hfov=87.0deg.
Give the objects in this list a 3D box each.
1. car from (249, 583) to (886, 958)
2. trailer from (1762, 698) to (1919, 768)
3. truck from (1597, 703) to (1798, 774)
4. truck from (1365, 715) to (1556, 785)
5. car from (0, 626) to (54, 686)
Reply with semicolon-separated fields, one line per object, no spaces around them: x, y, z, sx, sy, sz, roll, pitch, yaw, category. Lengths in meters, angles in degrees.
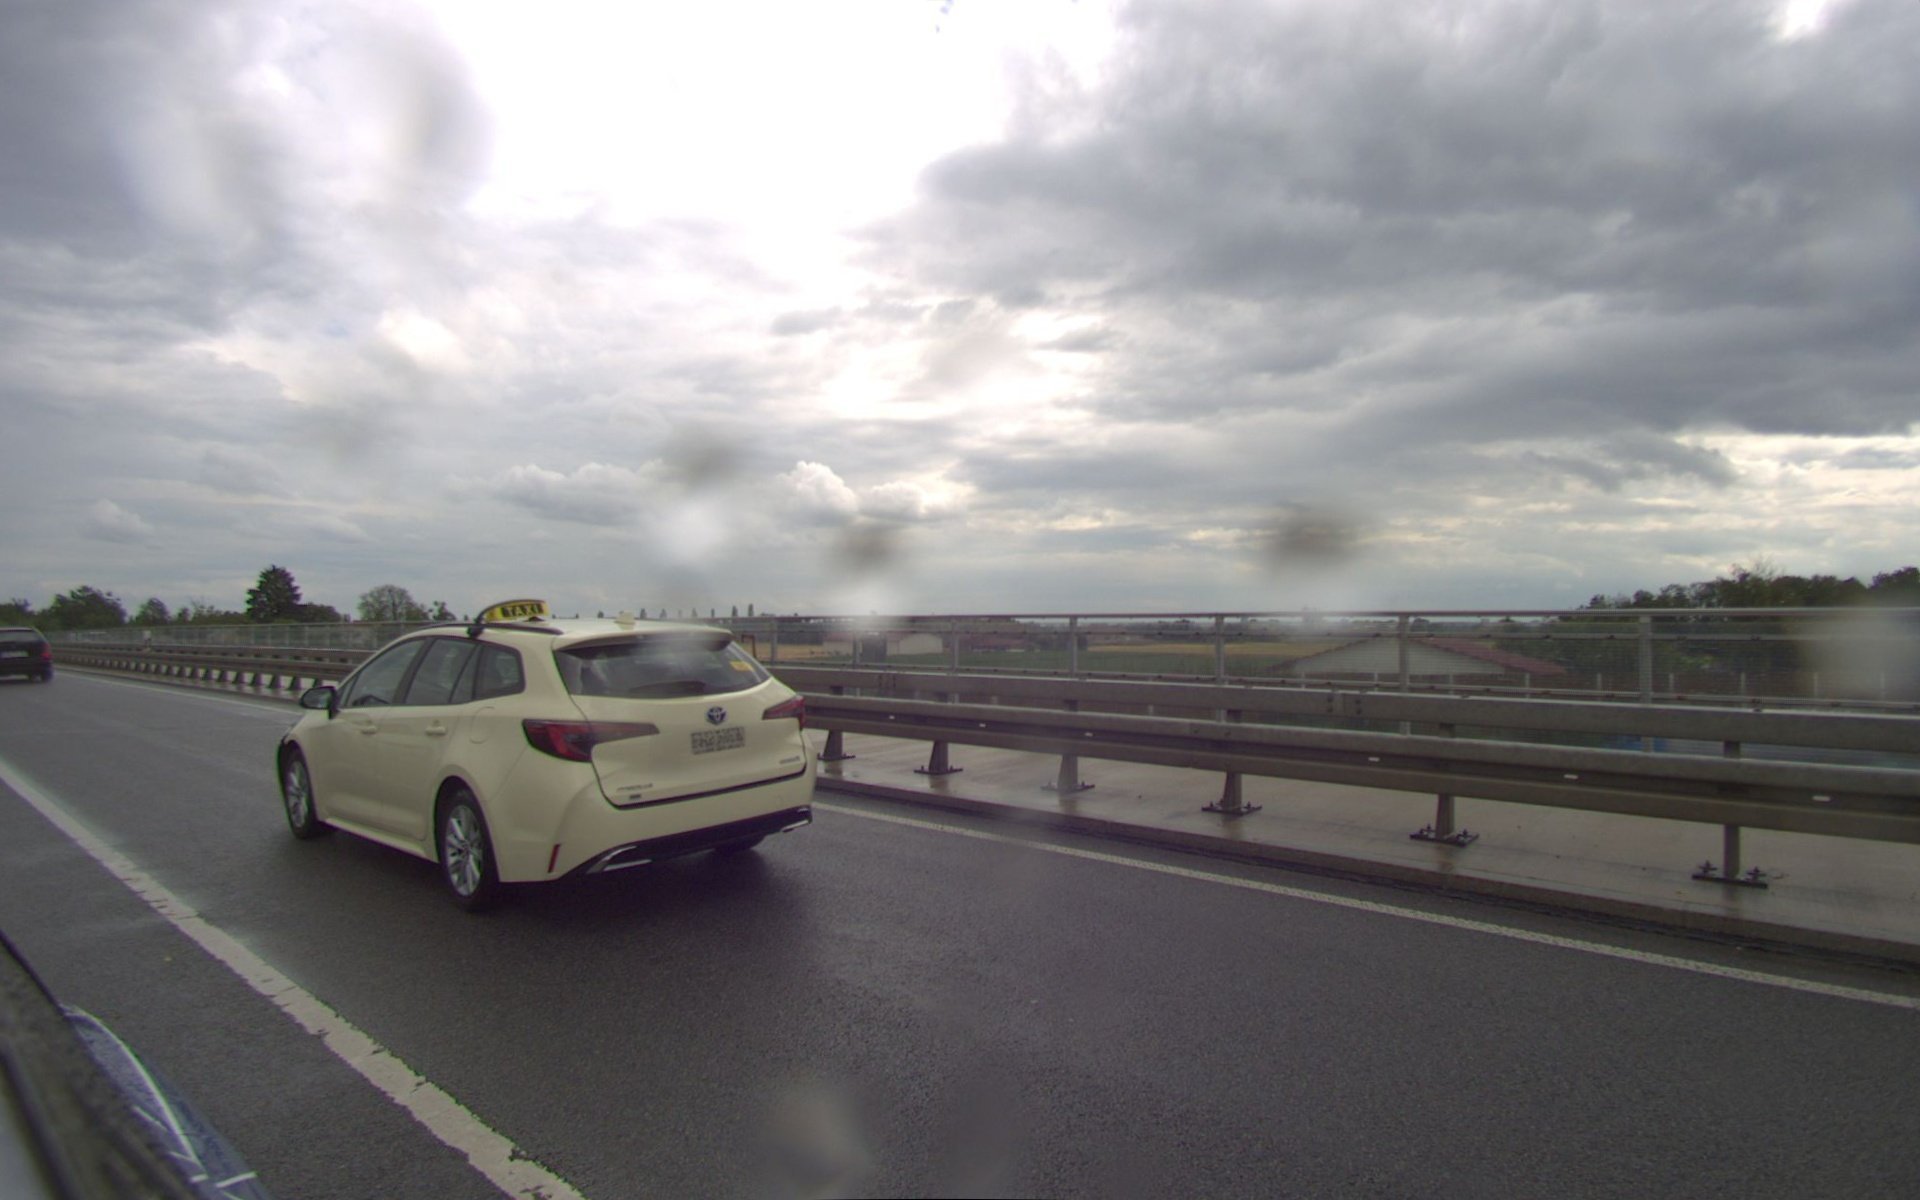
-2.723;0.739;6.325;4.609;1.521;1.791;-2;-1;42;car
56.508;8.378;64.226;9.319;3.790;2.439;-2;-1;-3;trailer
46.376;8.660;63.762;11.005;3.790;2.439;-2;-1;-3;truck
31.897;9.533;64.738;11.005;3.790;2.439;-2;-1;-3;truck
-25.251;1.454;26.548;4.321;1.443;1.679;-2;-1;41;car
